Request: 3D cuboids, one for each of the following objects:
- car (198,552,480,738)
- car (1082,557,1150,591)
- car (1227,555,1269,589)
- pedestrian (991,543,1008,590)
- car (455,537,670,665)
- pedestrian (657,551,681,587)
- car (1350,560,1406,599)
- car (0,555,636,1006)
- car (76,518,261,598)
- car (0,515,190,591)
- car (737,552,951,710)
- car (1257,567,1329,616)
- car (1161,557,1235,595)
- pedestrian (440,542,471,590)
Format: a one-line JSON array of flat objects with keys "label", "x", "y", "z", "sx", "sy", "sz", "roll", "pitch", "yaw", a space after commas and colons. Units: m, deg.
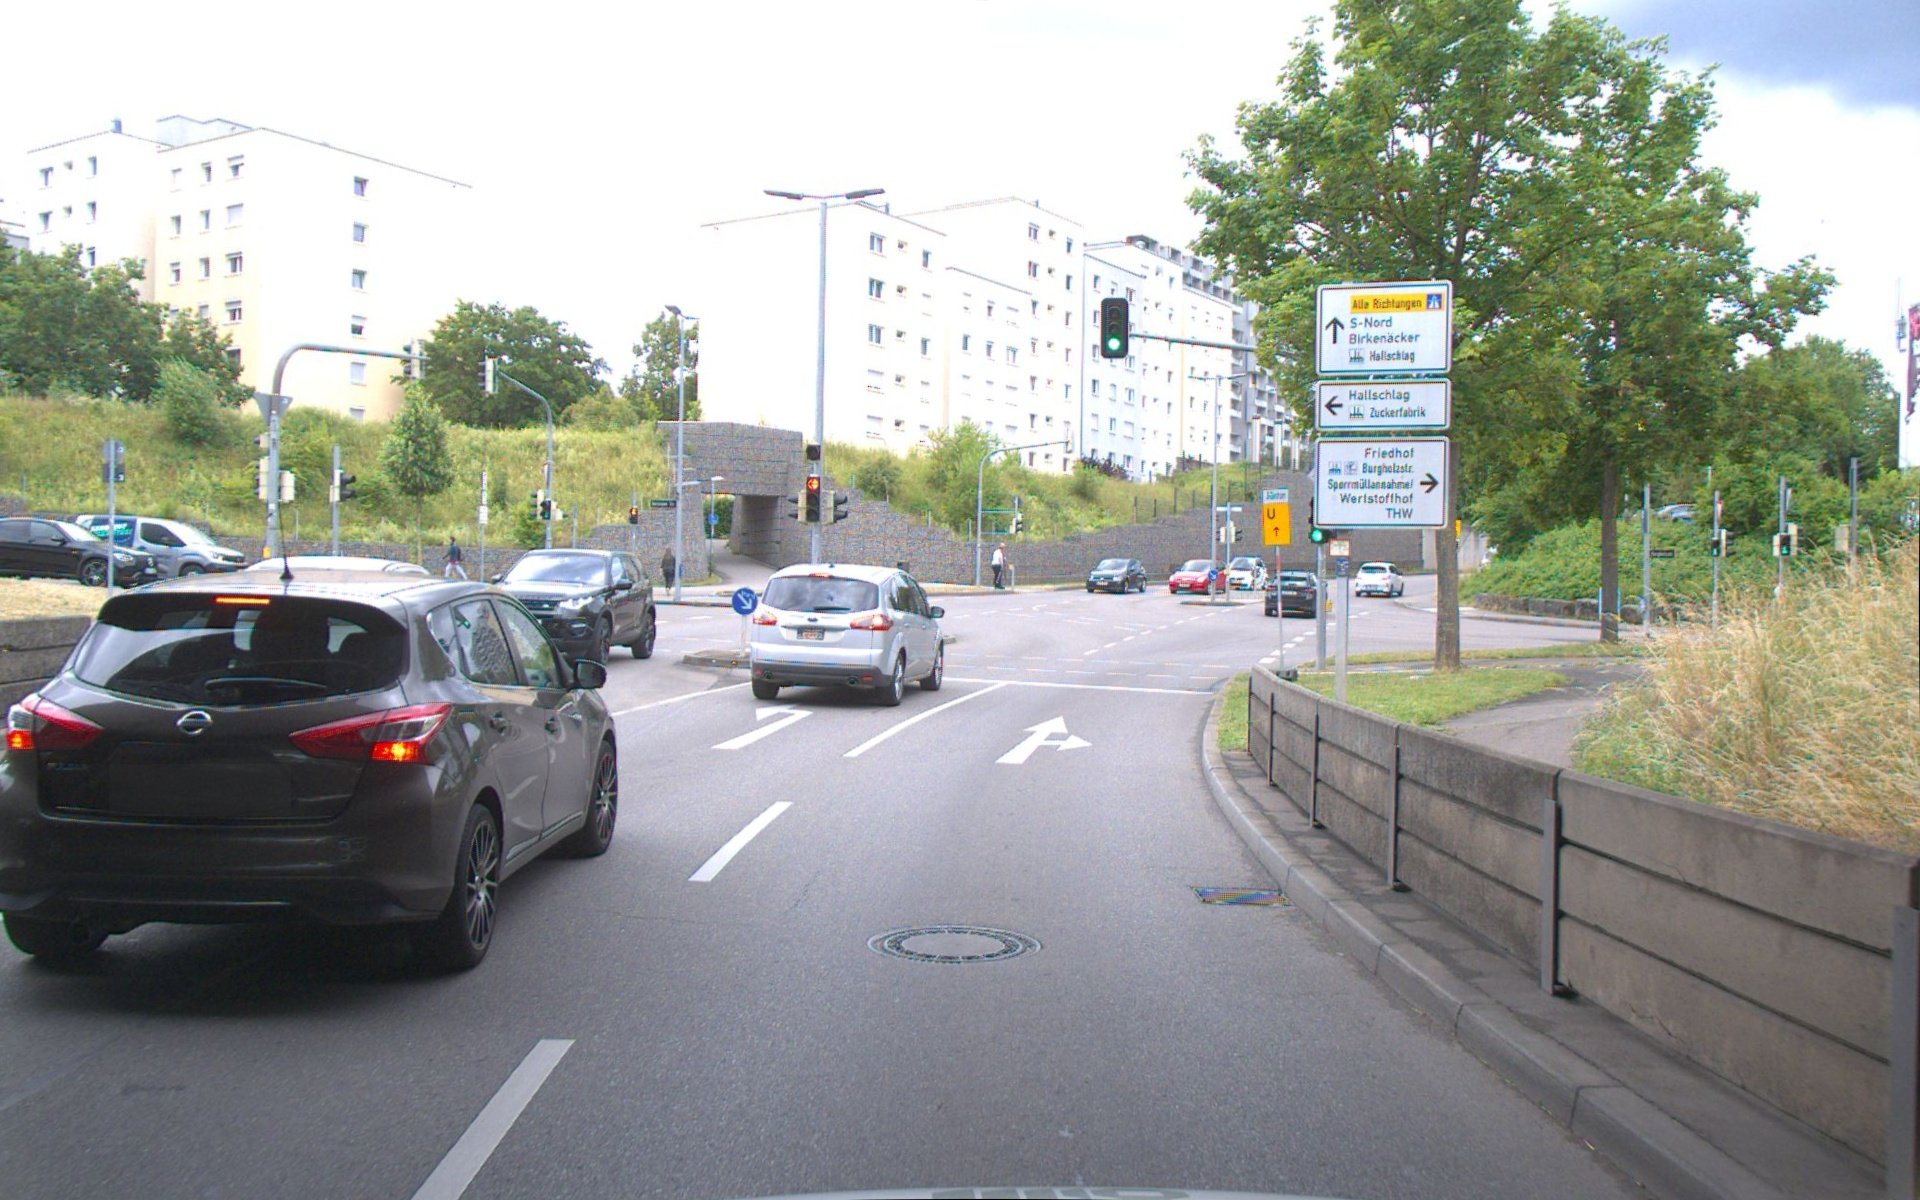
[{"label": "car", "x": -6.057, "y": 0.370, "z": 16.619, "sx": 1.730, "sy": 1.619, "sz": 3.994, "roll": 1, "pitch": 1, "yaw": -7}, {"label": "car", "x": 6.706, "y": -1.103, "z": 70.767, "sx": 1.818, "sy": 1.384, "sz": 4.000, "roll": 2, "pitch": 1, "yaw": 21}, {"label": "car", "x": 13.610, "y": -1.315, "z": 78.146, "sx": 1.138, "sy": 1.389, "sz": 2.502, "roll": 5, "pitch": 1, "yaw": 28}, {"label": "pedestrian", "x": 1.625, "y": -1.366, "z": 67.896, "sx": 0.592, "sy": 1.895, "sz": 0.596, "roll": 2, "pitch": 1, "yaw": -5}, {"label": "car", "x": -5.867, "y": -0.020, "z": 24.930, "sx": 1.952, "sy": 1.727, "sz": 4.170, "roll": 1, "pitch": 1, "yaw": 4}, {"label": "pedestrian", "x": -9.849, "y": -1.059, "z": 55.976, "sx": 0.732, "sy": 1.134, "sz": 0.475, "roll": 4, "pitch": 2, "yaw": -11}, {"label": "car", "x": 18.797, "y": -0.917, "z": 74.204, "sx": 1.953, "sy": 1.646, "sz": 4.000, "roll": 1, "pitch": 1, "yaw": 21}, {"label": "car", "x": -2.736, "y": 0.608, "z": 7.669, "sx": 1.808, "sy": 1.519, "sz": 3.998, "roll": 1, "pitch": 0, "yaw": -3}, {"label": "car", "x": -20.851, "y": -1.107, "z": 43.719, "sx": 3.909, "sy": 1.981, "sz": 1.998, "roll": 1, "pitch": 1, "yaw": -5}, {"label": "car", "x": -20.926, "y": -1.125, "z": 39.726, "sx": 3.904, "sy": 1.623, "sz": 1.873, "roll": 2, "pitch": 1, "yaw": 2}, {"label": "car", "x": -1.355, "y": 0.335, "z": 20.934, "sx": 1.791, "sy": 1.735, "sz": 3.872, "roll": 2, "pitch": 1, "yaw": 9}, {"label": "car", "x": 11.188, "y": -0.287, "z": 55.445, "sx": 1.860, "sy": 1.492, "sz": 4.002, "roll": 3, "pitch": 1, "yaw": 18}, {"label": "car", "x": 10.431, "y": -1.061, "z": 72.323, "sx": 1.808, "sy": 1.479, "sz": 3.992, "roll": 5, "pitch": 3, "yaw": 30}, {"label": "pedestrian", "x": -17.628, "y": -1.205, "z": 57.848, "sx": 0.936, "sy": 1.641, "sz": 0.698, "roll": 2, "pitch": 1, "yaw": -12}]
